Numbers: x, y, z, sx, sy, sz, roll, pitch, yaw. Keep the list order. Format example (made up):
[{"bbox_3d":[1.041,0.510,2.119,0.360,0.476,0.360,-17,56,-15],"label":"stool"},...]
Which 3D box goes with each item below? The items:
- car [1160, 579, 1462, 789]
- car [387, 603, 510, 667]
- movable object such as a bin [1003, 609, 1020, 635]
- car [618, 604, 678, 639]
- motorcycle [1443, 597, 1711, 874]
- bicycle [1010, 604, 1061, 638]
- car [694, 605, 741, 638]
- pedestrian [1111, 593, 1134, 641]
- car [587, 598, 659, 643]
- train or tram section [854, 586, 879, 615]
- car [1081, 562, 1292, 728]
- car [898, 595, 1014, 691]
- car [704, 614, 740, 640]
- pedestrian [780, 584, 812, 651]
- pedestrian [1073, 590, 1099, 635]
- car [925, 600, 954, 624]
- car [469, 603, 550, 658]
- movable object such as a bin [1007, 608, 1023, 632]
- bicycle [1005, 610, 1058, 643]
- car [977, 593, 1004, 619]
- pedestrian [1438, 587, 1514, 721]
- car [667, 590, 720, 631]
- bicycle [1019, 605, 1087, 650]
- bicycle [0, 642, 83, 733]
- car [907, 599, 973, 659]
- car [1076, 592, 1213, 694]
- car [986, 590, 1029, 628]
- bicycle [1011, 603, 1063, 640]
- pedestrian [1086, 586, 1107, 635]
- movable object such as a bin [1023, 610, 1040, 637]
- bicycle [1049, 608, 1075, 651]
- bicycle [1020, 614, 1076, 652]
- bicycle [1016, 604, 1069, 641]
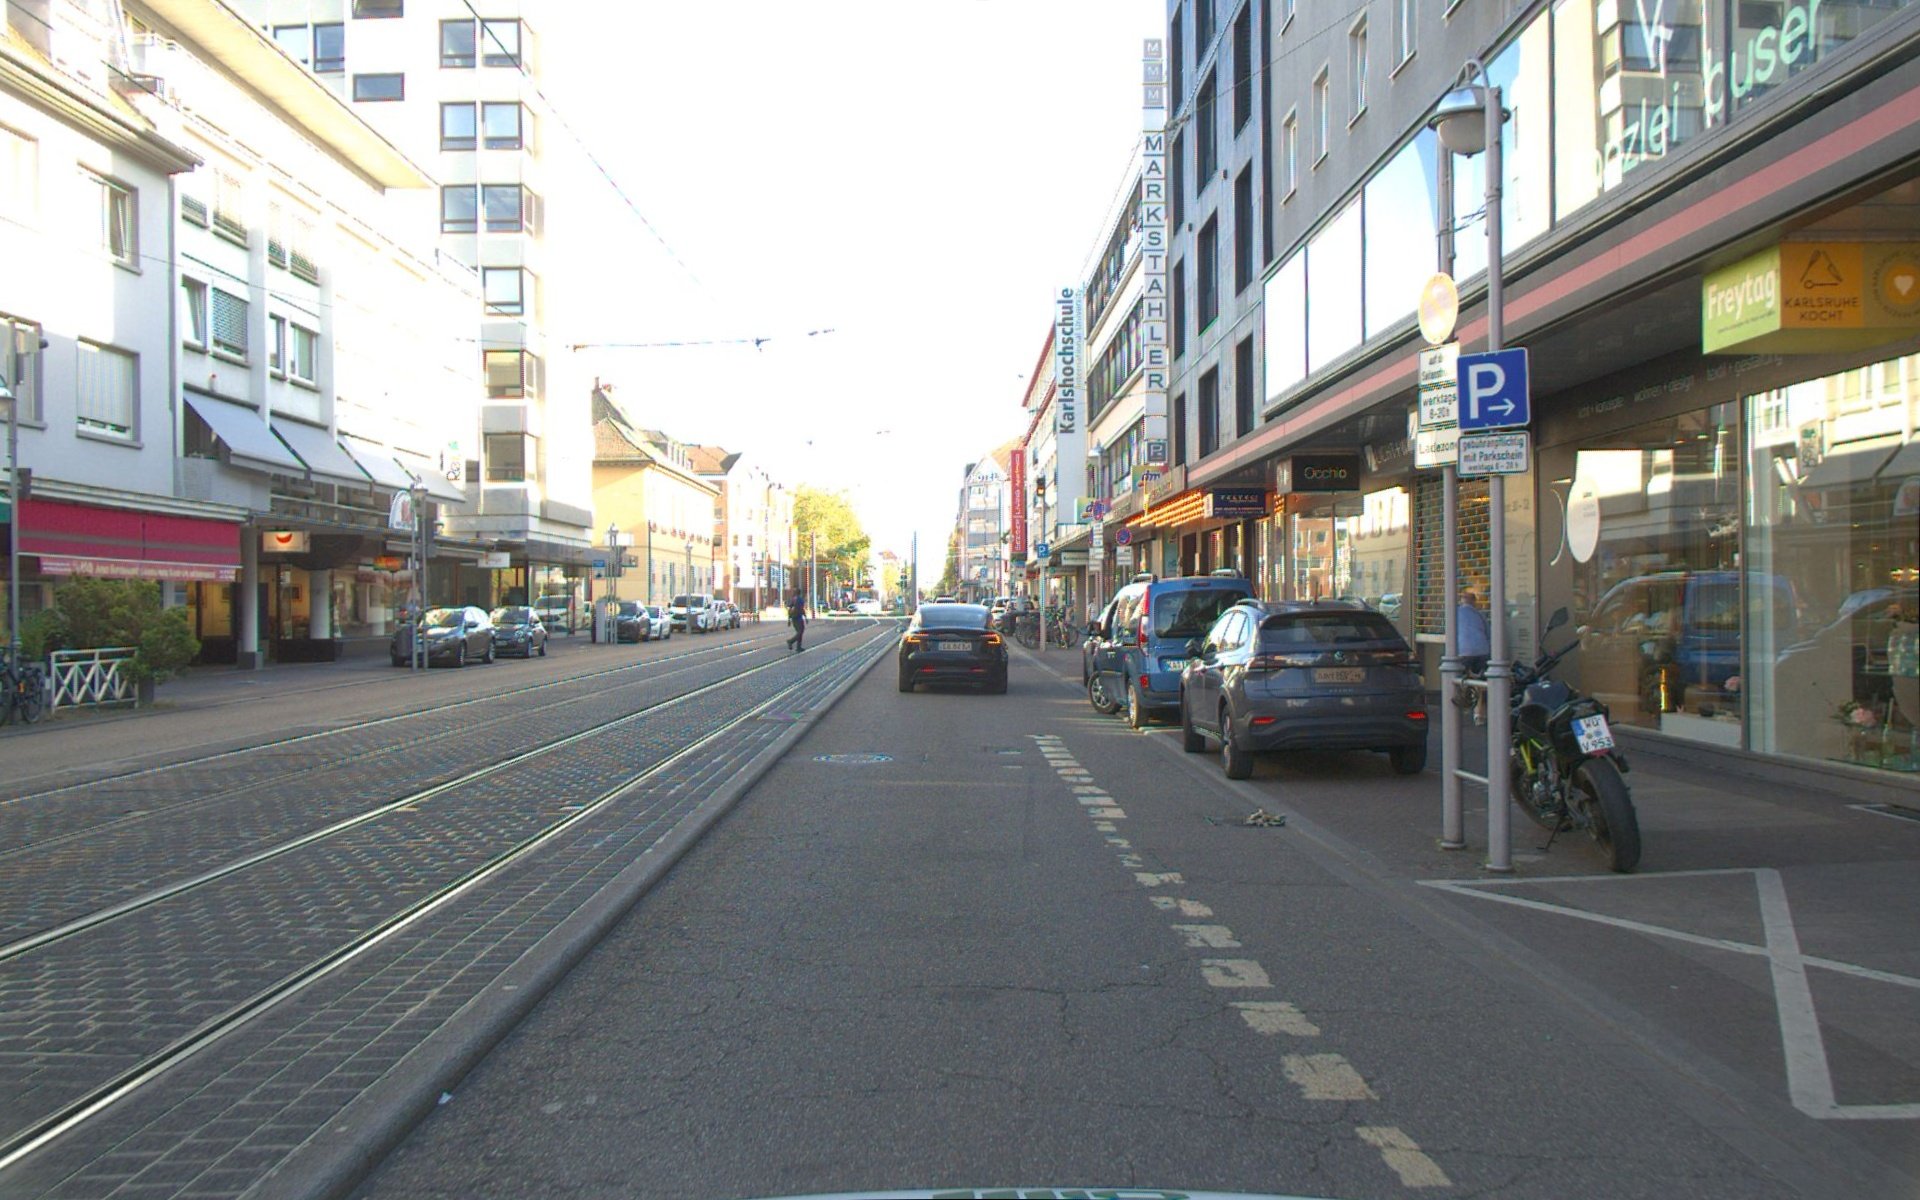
[{"bbox_3d":[3.080,0.679,15.420,1.728,1.605,4.286,-2,0,-2],"label":"car"},{"bbox_3d":[-13.325,0.887,43.375,1.701,1.550,4.851,1,0,0],"label":"car"},{"bbox_3d":[2.221,0.941,70.805,0.676,1.108,0.686,-2,0,2],"label":"movable object such as a bin"},{"bbox_3d":[-13.661,0.906,72.654,1.850,1.446,4.654,1,0,-2],"label":"car"},{"bbox_3d":[3.626,0.725,9.967,0.646,1.457,2.321,-1,0,-2],"label":"motorcycle"},{"bbox_3d":[2.687,0.746,58.959,1.751,1.179,0.669,-2,0,-2],"label":"bicycle"},{"bbox_3d":[-13.395,1.184,91.567,1.770,1.715,4.649,1,0,2],"label":"car"},{"bbox_3d":[5.273,0.554,53.707,0.571,1.519,0.524,-3,0,-9],"label":"pedestrian"},{"bbox_3d":[-13.566,0.812,66.783,1.938,1.708,4.654,1,0,0],"label":"car"},{"bbox_3d":[-13.025,0.110,230.945,2.619,3.780,14.191,1,0,0],"label":"train or tram section"},{"bbox_3d":[2.822,0.536,21.635,1.780,1.892,4.546,-1,0,-4],"label":"car"},{"bbox_3d":[-0.118,0.691,28.145,1.811,1.510,3.786,1,0,-2],"label":"car"},{"bbox_3d":[-13.980,1.568,97.321,1.581,1.425,3.719,1,0,-1],"label":"car"},{"bbox_3d":[-4.743,0.506,47.856,0.788,1.869,0.746,-2,0,-2],"label":"pedestrian"},{"bbox_3d":[4.333,0.418,56.958,0.576,1.512,0.591,-3,0,-32],"label":"pedestrian"},{"bbox_3d":[-1.423,0.810,112.152,1.748,1.545,4.215,1,0,-4],"label":"car"},{"bbox_3d":[-13.297,0.877,48.965,1.569,1.550,3.587,1,0,-3],"label":"car"},{"bbox_3d":[2.364,0.857,71.669,0.672,1.032,0.508,-1,0,2],"label":"movable object such as a bin"},{"bbox_3d":[2.401,0.875,55.607,1.737,1.050,0.596,-2,0,-2],"label":"bicycle"},{"bbox_3d":[2.017,0.388,110.428,1.709,1.660,3.648,-2,0,0],"label":"car"},{"bbox_3d":[5.832,0.603,18.728,0.564,1.464,0.730,-3,0,-1],"label":"pedestrian"},{"bbox_3d":[-13.787,0.540,85.834,1.953,2.010,5.095,1,0,-1],"label":"car"},{"bbox_3d":[2.950,0.868,52.514,2.000,1.296,0.523,-4,0,-11],"label":"bicycle"},{"bbox_3d":[-12.358,1.139,21.939,0.508,1.109,1.716,1,0,-1],"label":"bicycle"},{"bbox_3d":[-0.497,0.727,43.348,1.619,1.443,4.000,1,1,0],"label":"car"},{"bbox_3d":[3.021,0.678,27.852,1.687,1.510,4.415,-3,0,-1],"label":"car"},{"bbox_3d":[2.337,0.432,82.908,1.812,1.754,5.191,-2,0,-1],"label":"car"},{"bbox_3d":[2.682,0.743,57.947,1.751,1.238,0.669,-2,0,-2],"label":"bicycle"},{"bbox_3d":[4.609,0.363,55.970,0.570,1.613,0.597,-3,0,-3],"label":"pedestrian"},{"bbox_3d":[3.066,1.008,70.755,0.676,1.108,0.666,-2,0,2],"label":"movable object such as a bin"},{"bbox_3d":[3.159,0.899,51.230,0.570,1.279,1.601,-3,0,-2],"label":"bicycle"},{"bbox_3d":[2.826,1.054,53.303,1.739,1.150,0.478,-2,0,-7],"label":"bicycle"},{"bbox_3d":[2.837,0.771,56.987,1.751,1.238,0.587,-2,0,-2],"label":"bicycle"}]
